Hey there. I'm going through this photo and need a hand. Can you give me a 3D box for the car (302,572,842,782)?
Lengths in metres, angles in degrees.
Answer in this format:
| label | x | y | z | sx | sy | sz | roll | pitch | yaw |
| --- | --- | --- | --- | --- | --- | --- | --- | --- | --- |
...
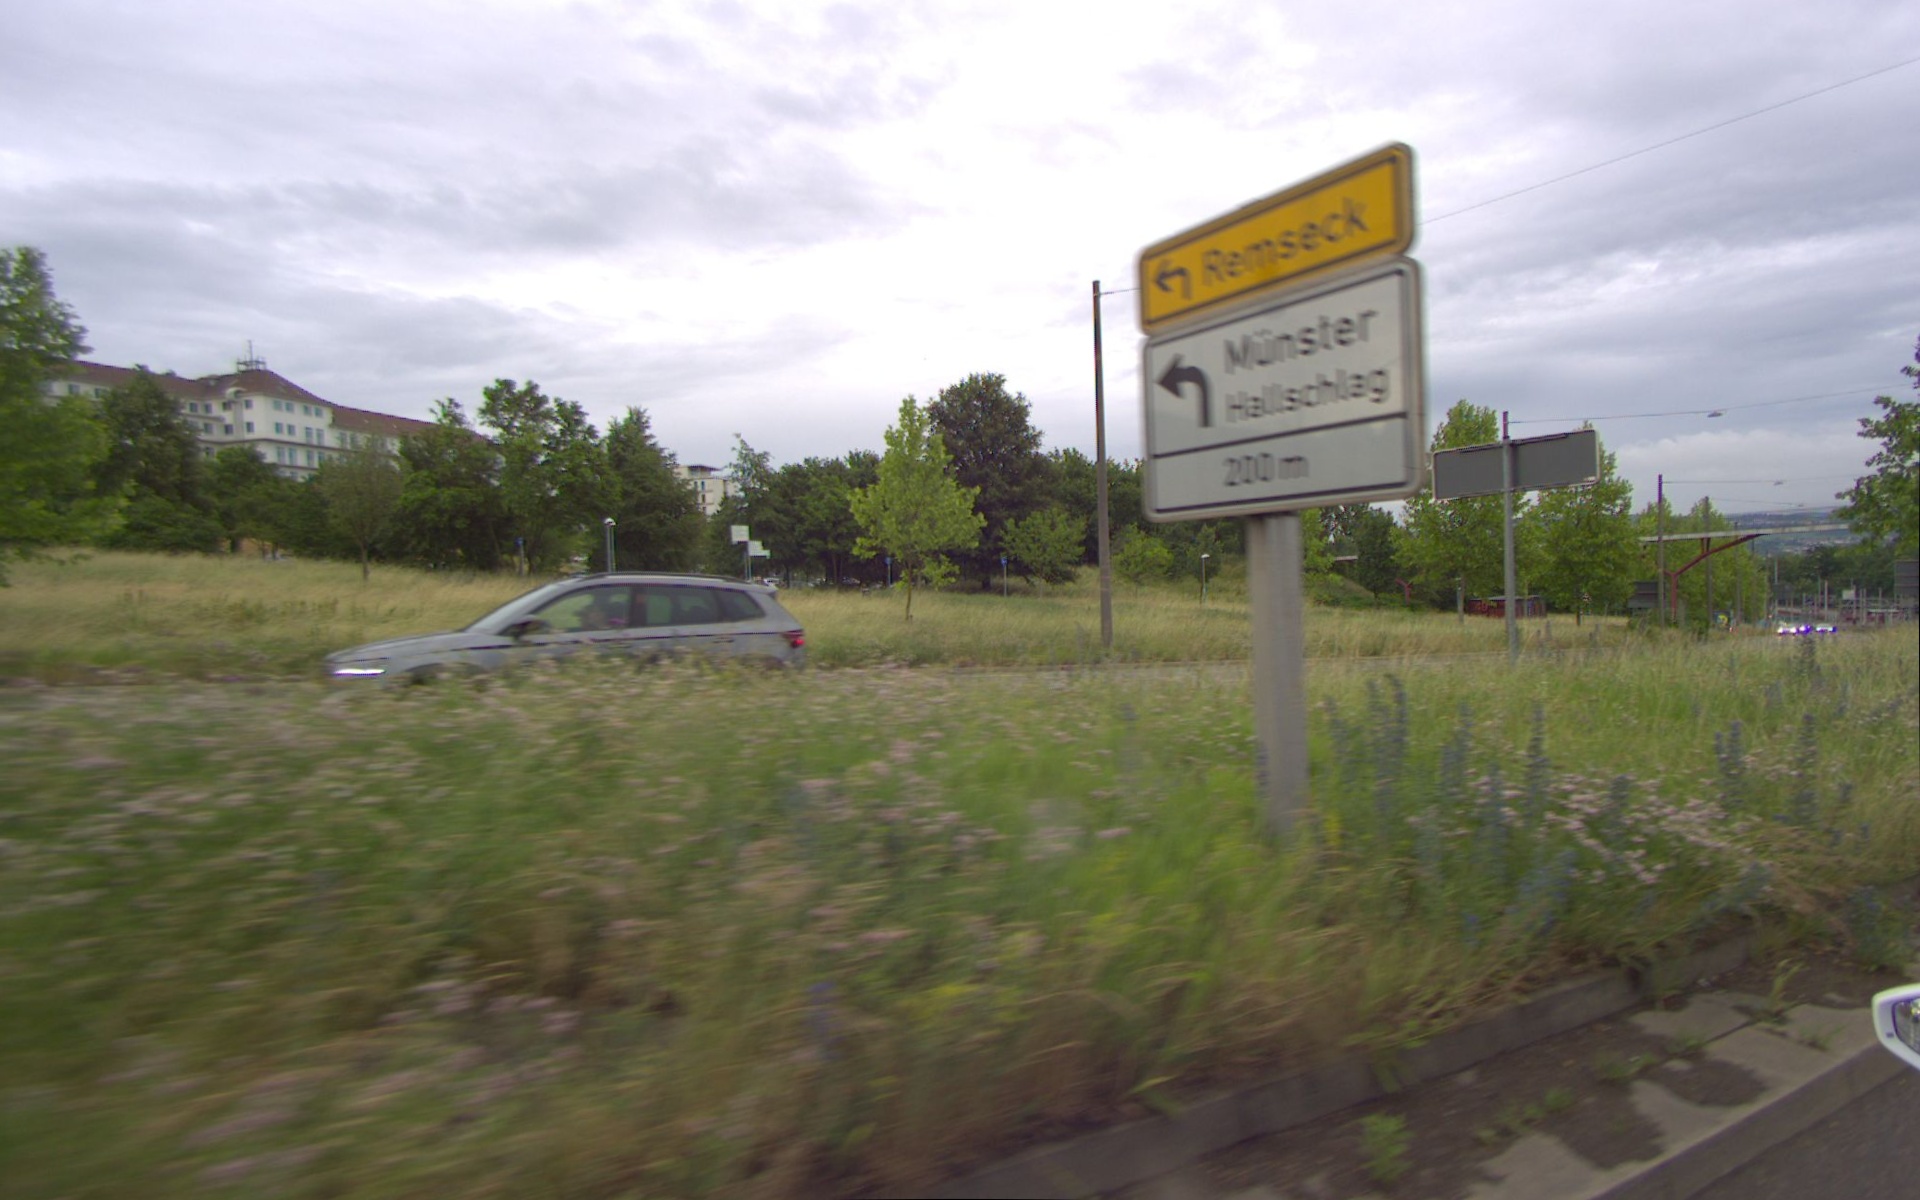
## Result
| label | x | y | z | sx | sy | sz | roll | pitch | yaw |
| --- | --- | --- | --- | --- | --- | --- | --- | --- | --- |
| car | -3.510 | 0.554 | 9.377 | 4.392 | 1.532 | 1.981 | 0 | 1 | -34 |
